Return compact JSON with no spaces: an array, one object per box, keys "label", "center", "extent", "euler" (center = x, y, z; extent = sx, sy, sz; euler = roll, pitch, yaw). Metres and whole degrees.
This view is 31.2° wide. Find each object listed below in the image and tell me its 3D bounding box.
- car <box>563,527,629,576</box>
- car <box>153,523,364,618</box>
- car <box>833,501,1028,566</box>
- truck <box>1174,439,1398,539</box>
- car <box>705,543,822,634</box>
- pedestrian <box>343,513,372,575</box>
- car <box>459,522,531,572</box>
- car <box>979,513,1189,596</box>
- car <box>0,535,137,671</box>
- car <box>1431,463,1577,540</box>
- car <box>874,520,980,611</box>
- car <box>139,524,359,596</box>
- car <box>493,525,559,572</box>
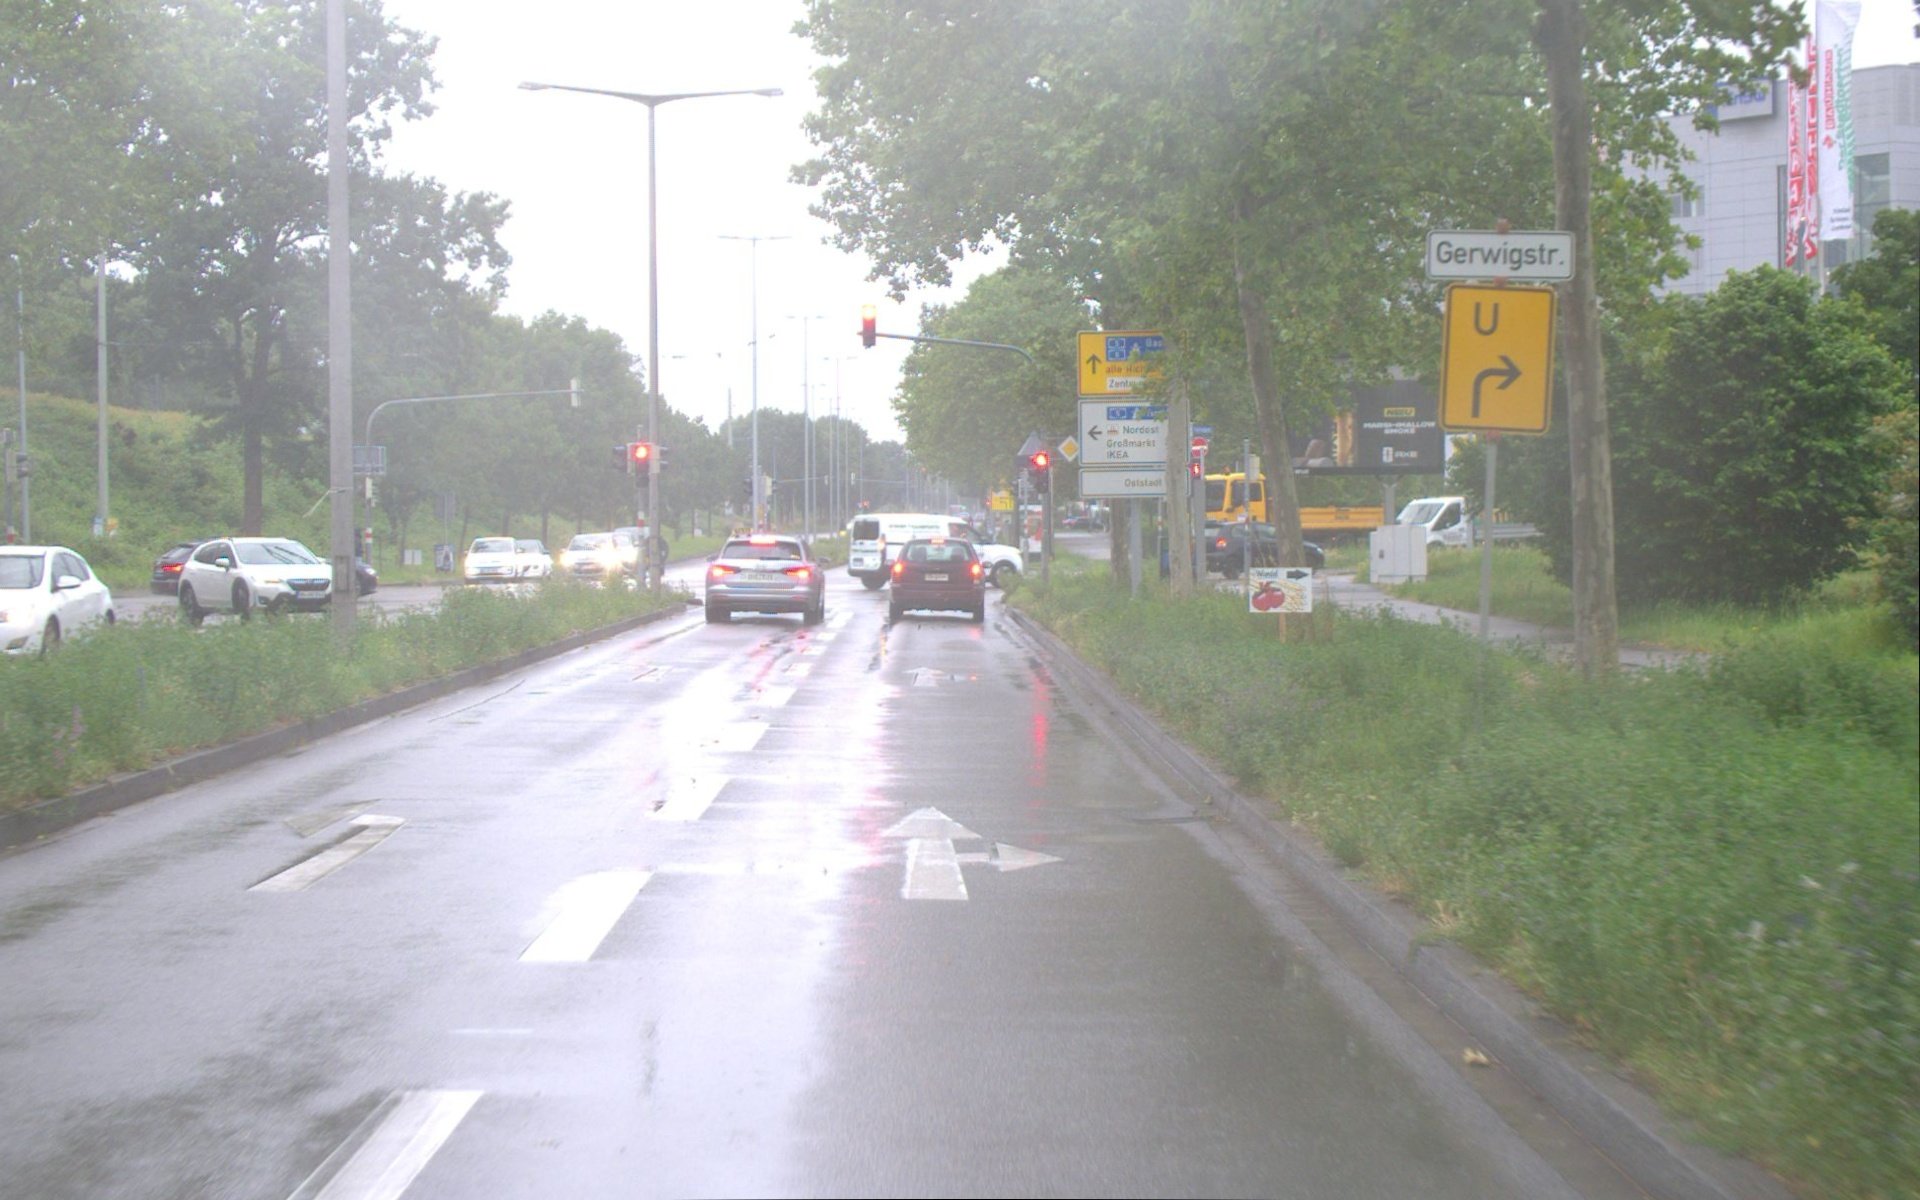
[{"label":"car","center":[-11.624,-1.558,109.974],"extent":[1.712,1.525,4.000],"euler":[-1,1,0]},{"label":"car","center":[-12.347,-0.534,60.328],"extent":[1.857,1.583,4.517],"euler":[-1,1,-37]},{"label":"car","center":[-0.703,-1.613,83.075],"extent":[4.372,1.532,1.802],"euler":[-1,1,-29]},{"label":"truck","center":[10.271,-3.458,107.900],"extent":[7.027,3.043,2.647],"euler":[-1,1,-37]},{"label":"car","center":[-3.240,-0.220,57.376],"extent":[1.690,1.428,4.574],"euler":[0,1,0]},{"label":"pedestrian","center":[-17.461,-1.626,99.629],"extent":[0.533,1.779,0.673],"euler":[1,0,17]},{"label":"car","center":[-14.689,-1.683,108.773],"extent":[1.712,1.525,4.000],"euler":[-1,1,0]},{"label":"car","center":[2.685,-0.997,73.756],"extent":[4.375,1.531,1.801],"euler":[-4,4,-40]},{"label":"car","center":[-10.998,-0.012,39.666],"extent":[1.931,1.440,4.658],"euler":[0,1,-1]},{"label":"car","center":[16.922,-3.052,106.800],"extent":[4.374,2.183,1.802],"euler":[-4,3,-34]},{"label":"car","center":[-0.579,-0.640,61.830],"extent":[1.796,1.532,4.387],"euler":[1,1,0]},{"label":"car","center":[-15.513,-0.873,75.072],"extent":[4.372,1.532,1.802],"euler":[0,1,-29]},{"label":"car","center":[-14.549,-1.741,115.311],"extent":[1.712,1.525,4.000],"euler":[-1,1,0]}]
